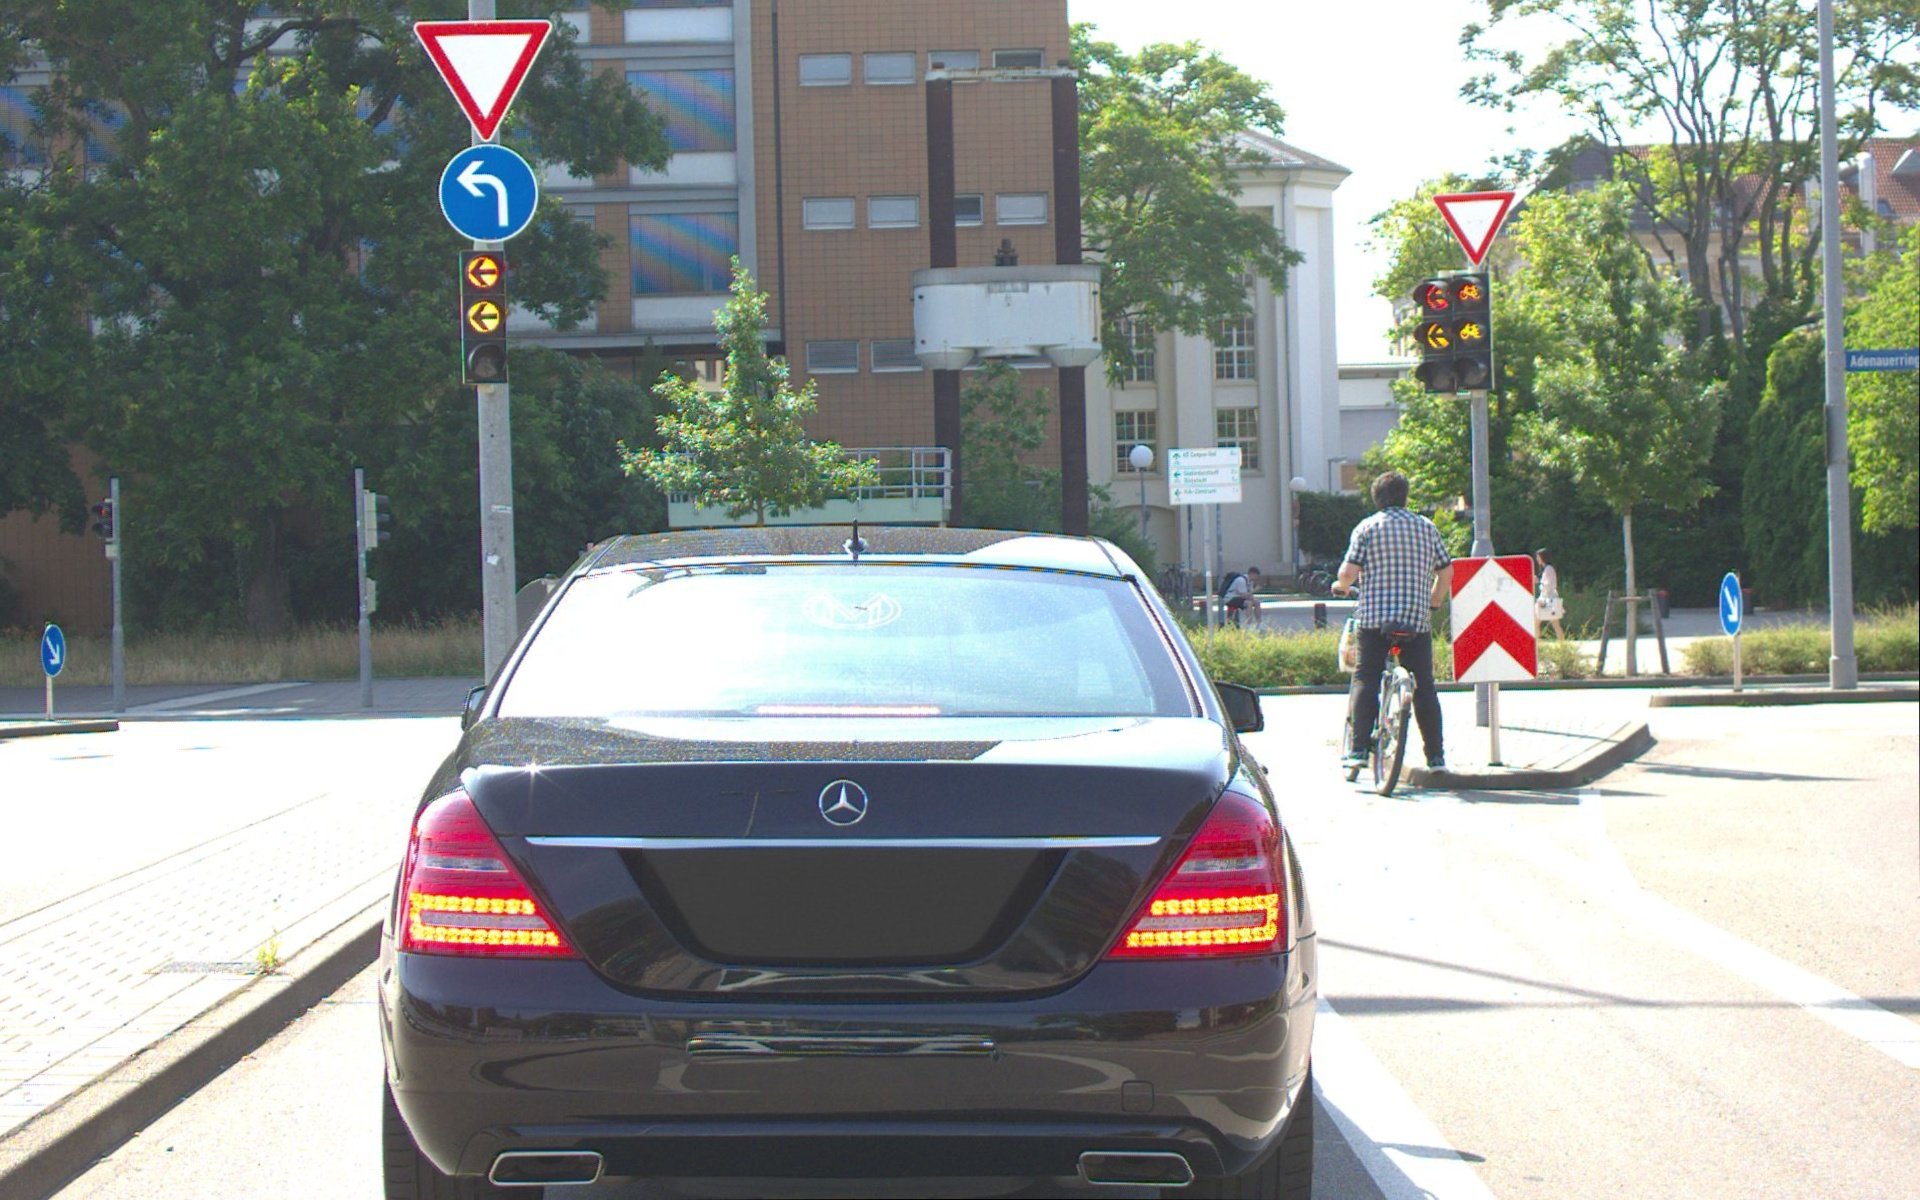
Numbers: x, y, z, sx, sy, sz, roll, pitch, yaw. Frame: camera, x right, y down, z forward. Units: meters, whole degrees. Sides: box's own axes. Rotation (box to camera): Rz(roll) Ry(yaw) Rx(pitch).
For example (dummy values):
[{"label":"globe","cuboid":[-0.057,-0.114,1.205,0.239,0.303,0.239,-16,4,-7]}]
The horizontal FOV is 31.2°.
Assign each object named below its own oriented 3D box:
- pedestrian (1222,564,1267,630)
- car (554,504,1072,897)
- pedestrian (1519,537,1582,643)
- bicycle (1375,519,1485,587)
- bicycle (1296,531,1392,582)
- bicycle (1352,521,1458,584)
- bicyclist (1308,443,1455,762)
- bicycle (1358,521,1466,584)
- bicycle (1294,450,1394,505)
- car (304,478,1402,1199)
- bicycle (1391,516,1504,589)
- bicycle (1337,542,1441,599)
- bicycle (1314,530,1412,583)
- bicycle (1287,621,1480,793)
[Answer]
[{"label":"pedestrian","cuboid":[5.285,-0.061,63.786,0.793,1.209,0.757,1,0,6]},{"label":"car","cuboid":[-0.592,0.371,15.365,1.993,1.503,4.000,1,1,-1]},{"label":"pedestrian","cuboid":[8.954,-0.149,52.172,0.811,1.574,0.692,-2,0,2]},{"label":"bicycle","cuboid":[12.814,-1.288,93.783,2.823,1.738,0.842,-2,1,-1]},{"label":"bicycle","cuboid":[11.846,-1.347,106.107,2.823,1.475,0.841,-2,1,0]},{"label":"bicycle","cuboid":[12.461,-1.325,96.327,2.823,1.653,0.842,-2,2,-1]},{"label":"bicyclist","cuboid":[2.518,0.010,20.594,0.685,1.872,0.860,0,0,-7]},{"label":"bicycle","cuboid":[12.527,-1.307,95.261,2.823,1.643,0.842,-2,1,-1]},{"label":"bicycle","cuboid":[11.417,-3.645,102.366,2.823,1.553,0.842,-2,1,-1]},{"label":"car","cuboid":[-0.252,0.538,8.207,1.858,1.525,4.714,0,1,-2]},{"label":"bicycle","cuboid":[12.976,-1.270,91.524,2.823,1.830,0.842,-2,1,-1]},{"label":"bicycle","cuboid":[12.272,-0.858,98.406,2.823,1.532,0.842,-2,1,-1]},{"label":"bicycle","cuboid":[12.261,-1.325,104.547,2.823,1.495,0.842,-2,1,-1]},{"label":"bicycle","cuboid":[2.513,0.619,20.630,0.692,0.943,1.959,1,1,-7]}]
